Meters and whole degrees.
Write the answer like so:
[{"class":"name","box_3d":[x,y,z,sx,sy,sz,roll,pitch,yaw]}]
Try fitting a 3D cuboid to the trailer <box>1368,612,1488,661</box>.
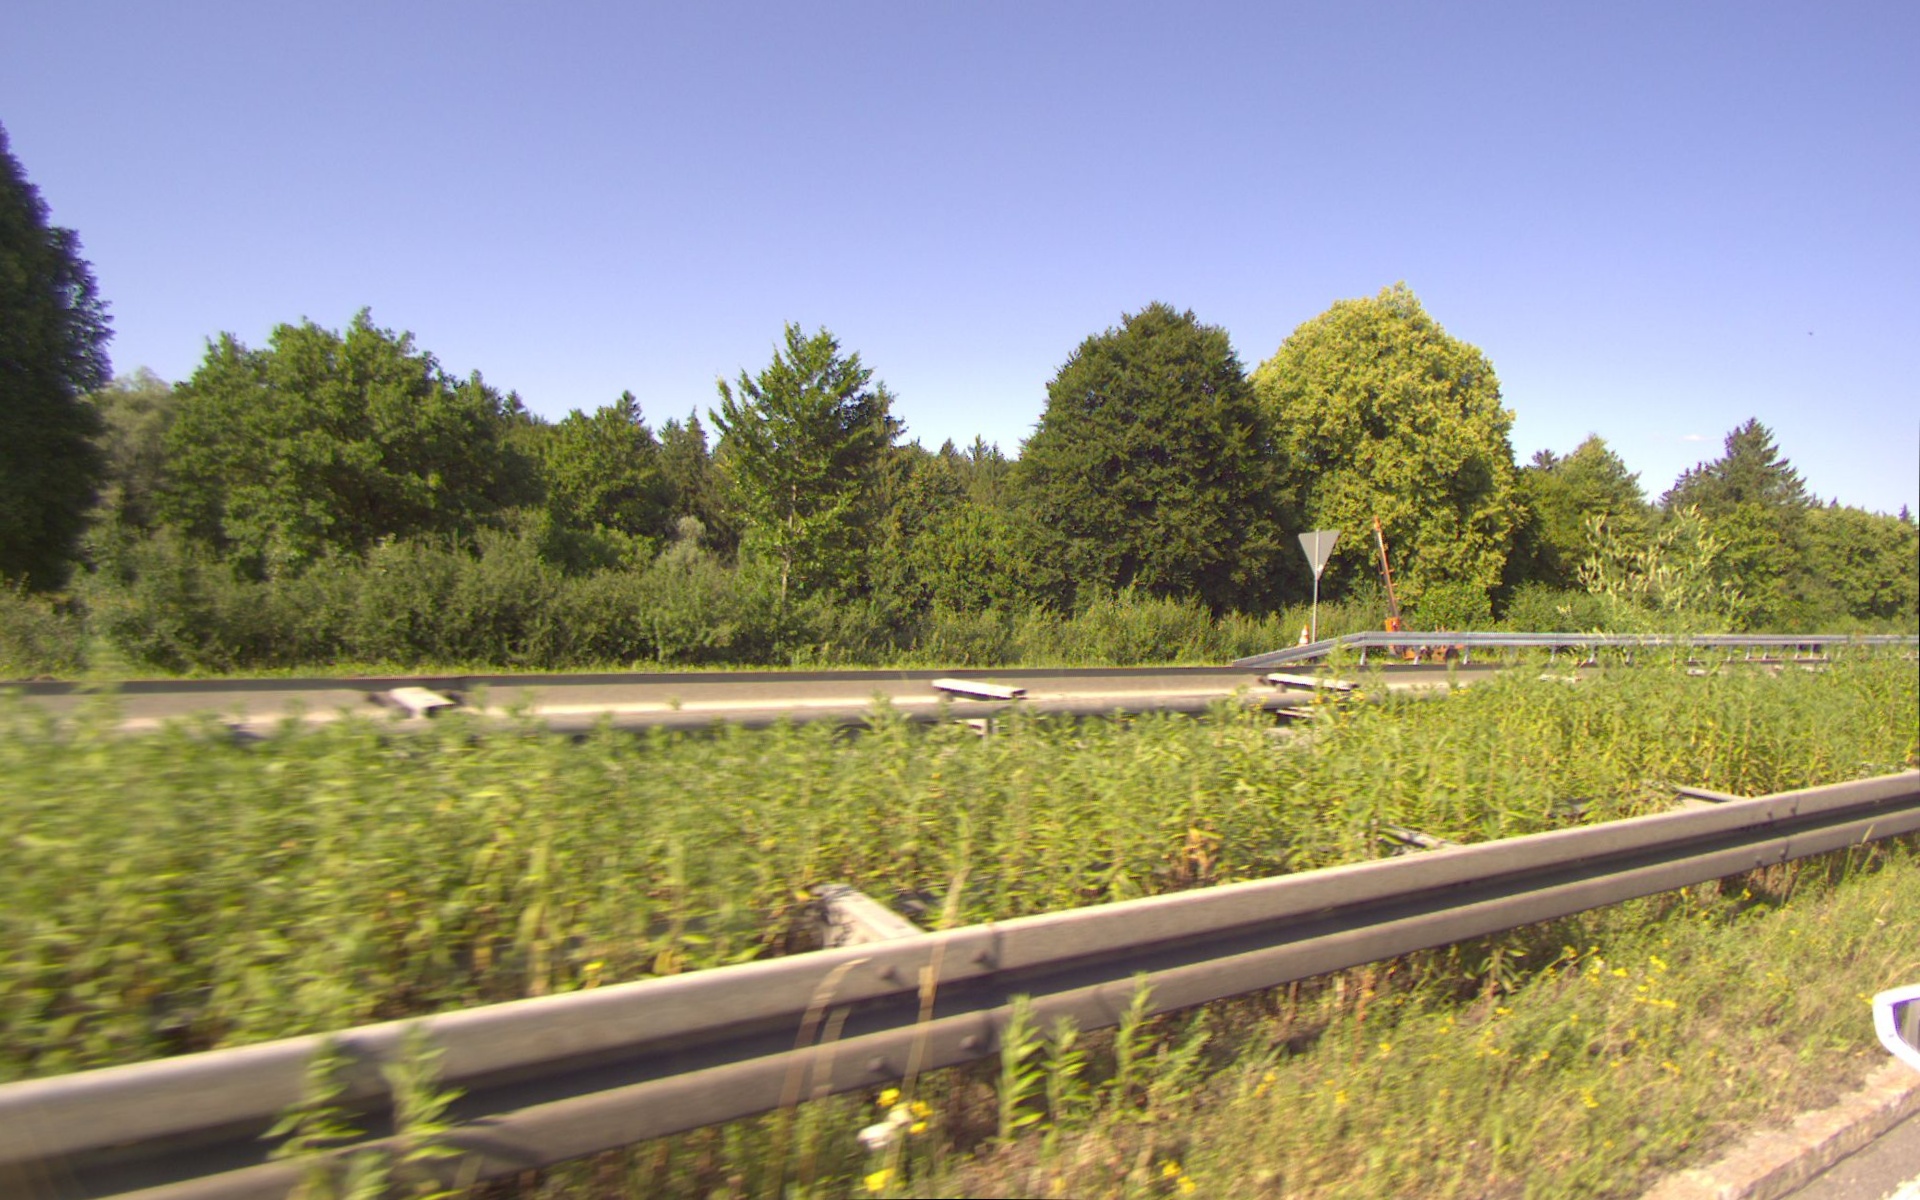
[{"class":"trailer","box_3d":[11.795,0.903,25.269,3.385,1.067,0.987,1,4,-32]}]
